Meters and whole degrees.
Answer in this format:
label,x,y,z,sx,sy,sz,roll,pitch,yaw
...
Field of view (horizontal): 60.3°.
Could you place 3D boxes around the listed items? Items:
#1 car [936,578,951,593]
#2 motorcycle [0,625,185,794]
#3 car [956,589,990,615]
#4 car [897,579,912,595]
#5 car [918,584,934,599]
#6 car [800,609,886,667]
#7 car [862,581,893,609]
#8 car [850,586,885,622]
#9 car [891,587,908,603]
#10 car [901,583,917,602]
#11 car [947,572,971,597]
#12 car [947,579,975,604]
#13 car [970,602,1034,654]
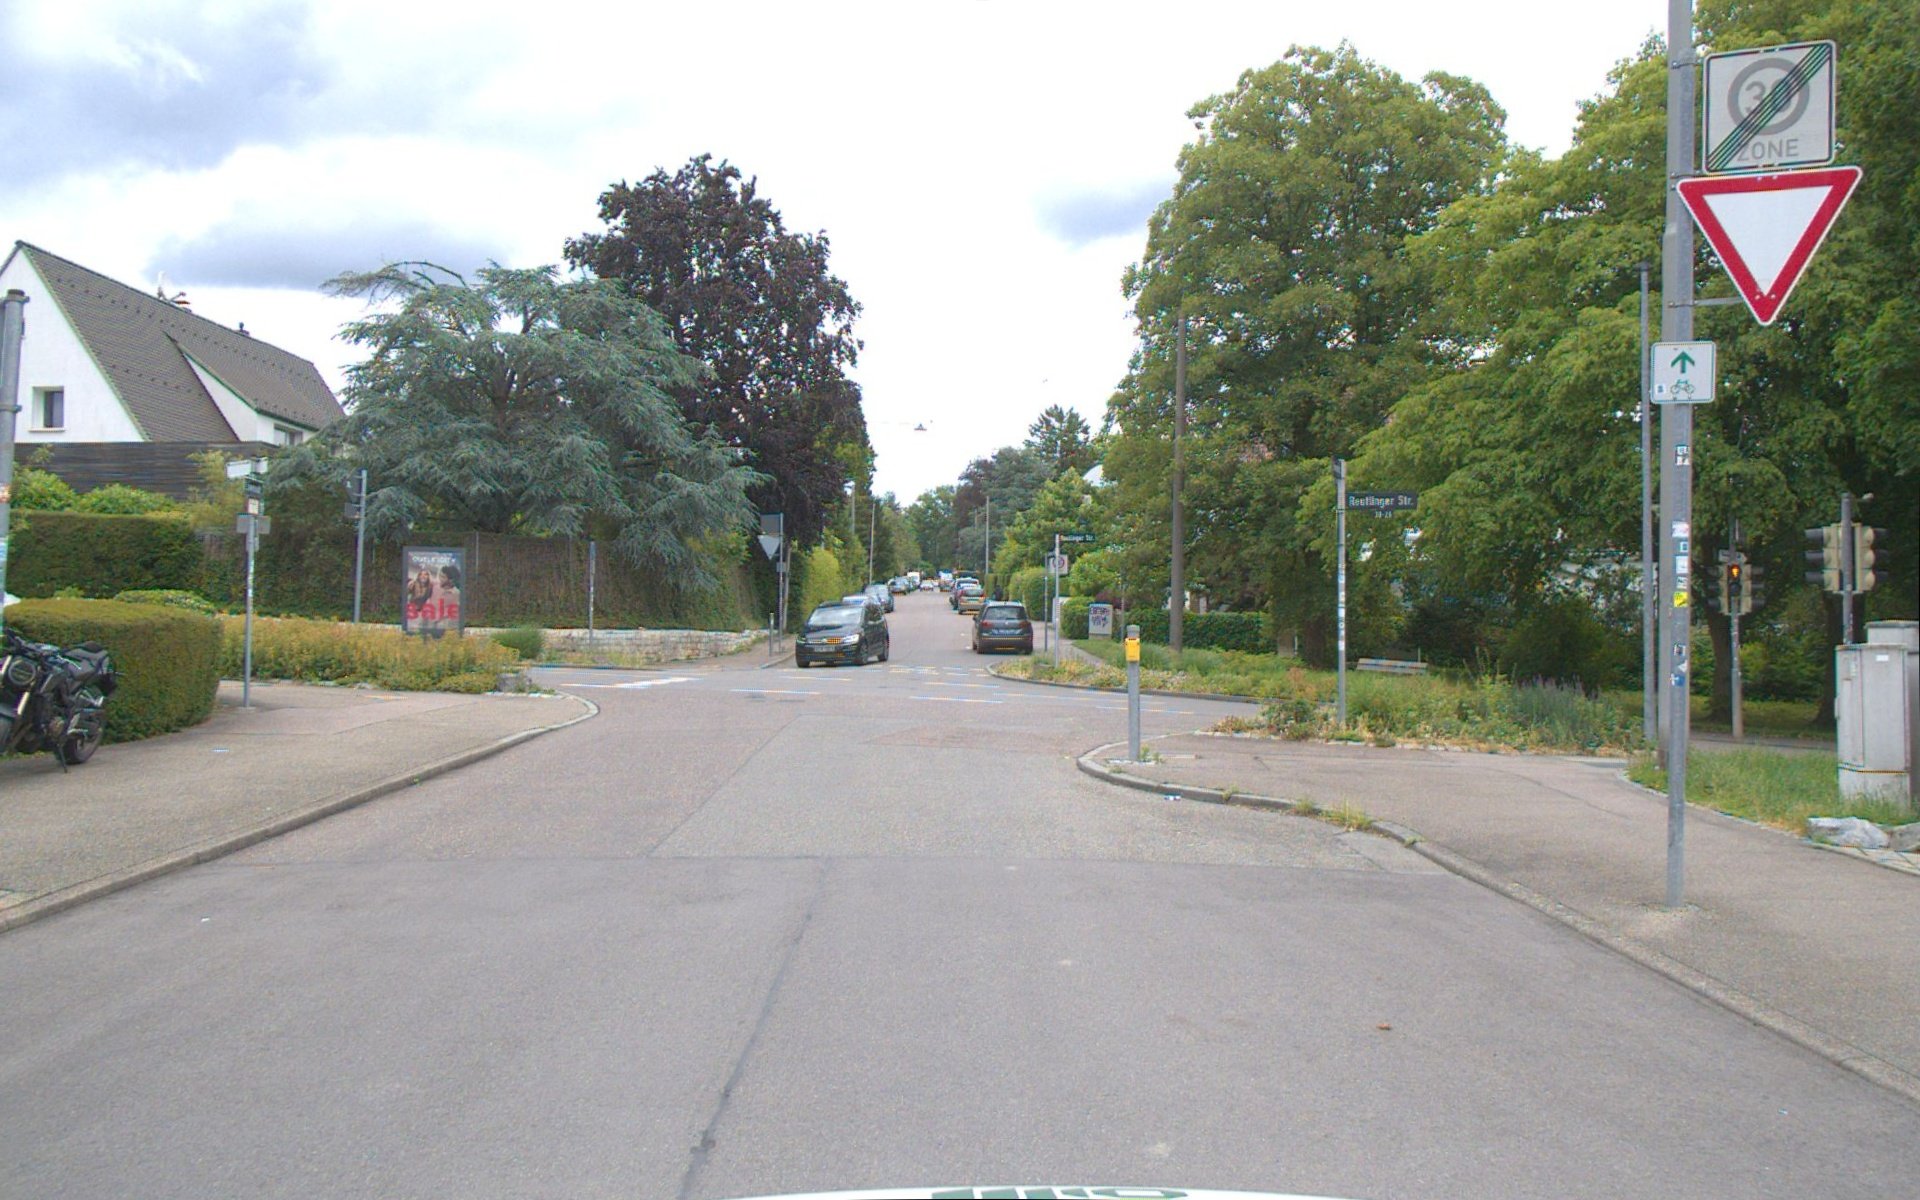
label,x,y,z,sx,sy,sz,roll,pitch,yaw
car,-1.938,-1.669,192.070,1.601,1.731,3.493,1,1,-2
motorcycle,-7.019,0.791,12.945,0.714,1.136,2.623,1,0,-2
car,0.717,0.119,95.536,1.774,1.359,3.631,2,1,-2
car,-6.920,-1.621,207.296,1.781,1.914,3.999,2,0,-2
car,-4.415,-1.105,215.969,1.953,1.914,3.999,2,0,-2
car,-3.013,0.963,43.264,1.692,1.432,3.806,0,0,5
car,-5.017,-0.336,100.616,1.676,1.613,4.000,0,1,0
car,-4.607,0.197,82.569,1.601,1.731,3.762,1,1,-2
car,-5.820,-0.489,160.259,1.594,1.410,3.597,2,0,-2
car,-5.316,-0.772,172.866,1.687,1.914,3.999,2,0,-2
car,-0.064,-1.118,116.436,1.601,1.731,3.493,1,1,-2
car,0.095,-0.527,104.425,1.753,1.556,3.734,0,0,0
car,1.286,0.837,51.998,1.743,1.515,3.998,2,0,-2
